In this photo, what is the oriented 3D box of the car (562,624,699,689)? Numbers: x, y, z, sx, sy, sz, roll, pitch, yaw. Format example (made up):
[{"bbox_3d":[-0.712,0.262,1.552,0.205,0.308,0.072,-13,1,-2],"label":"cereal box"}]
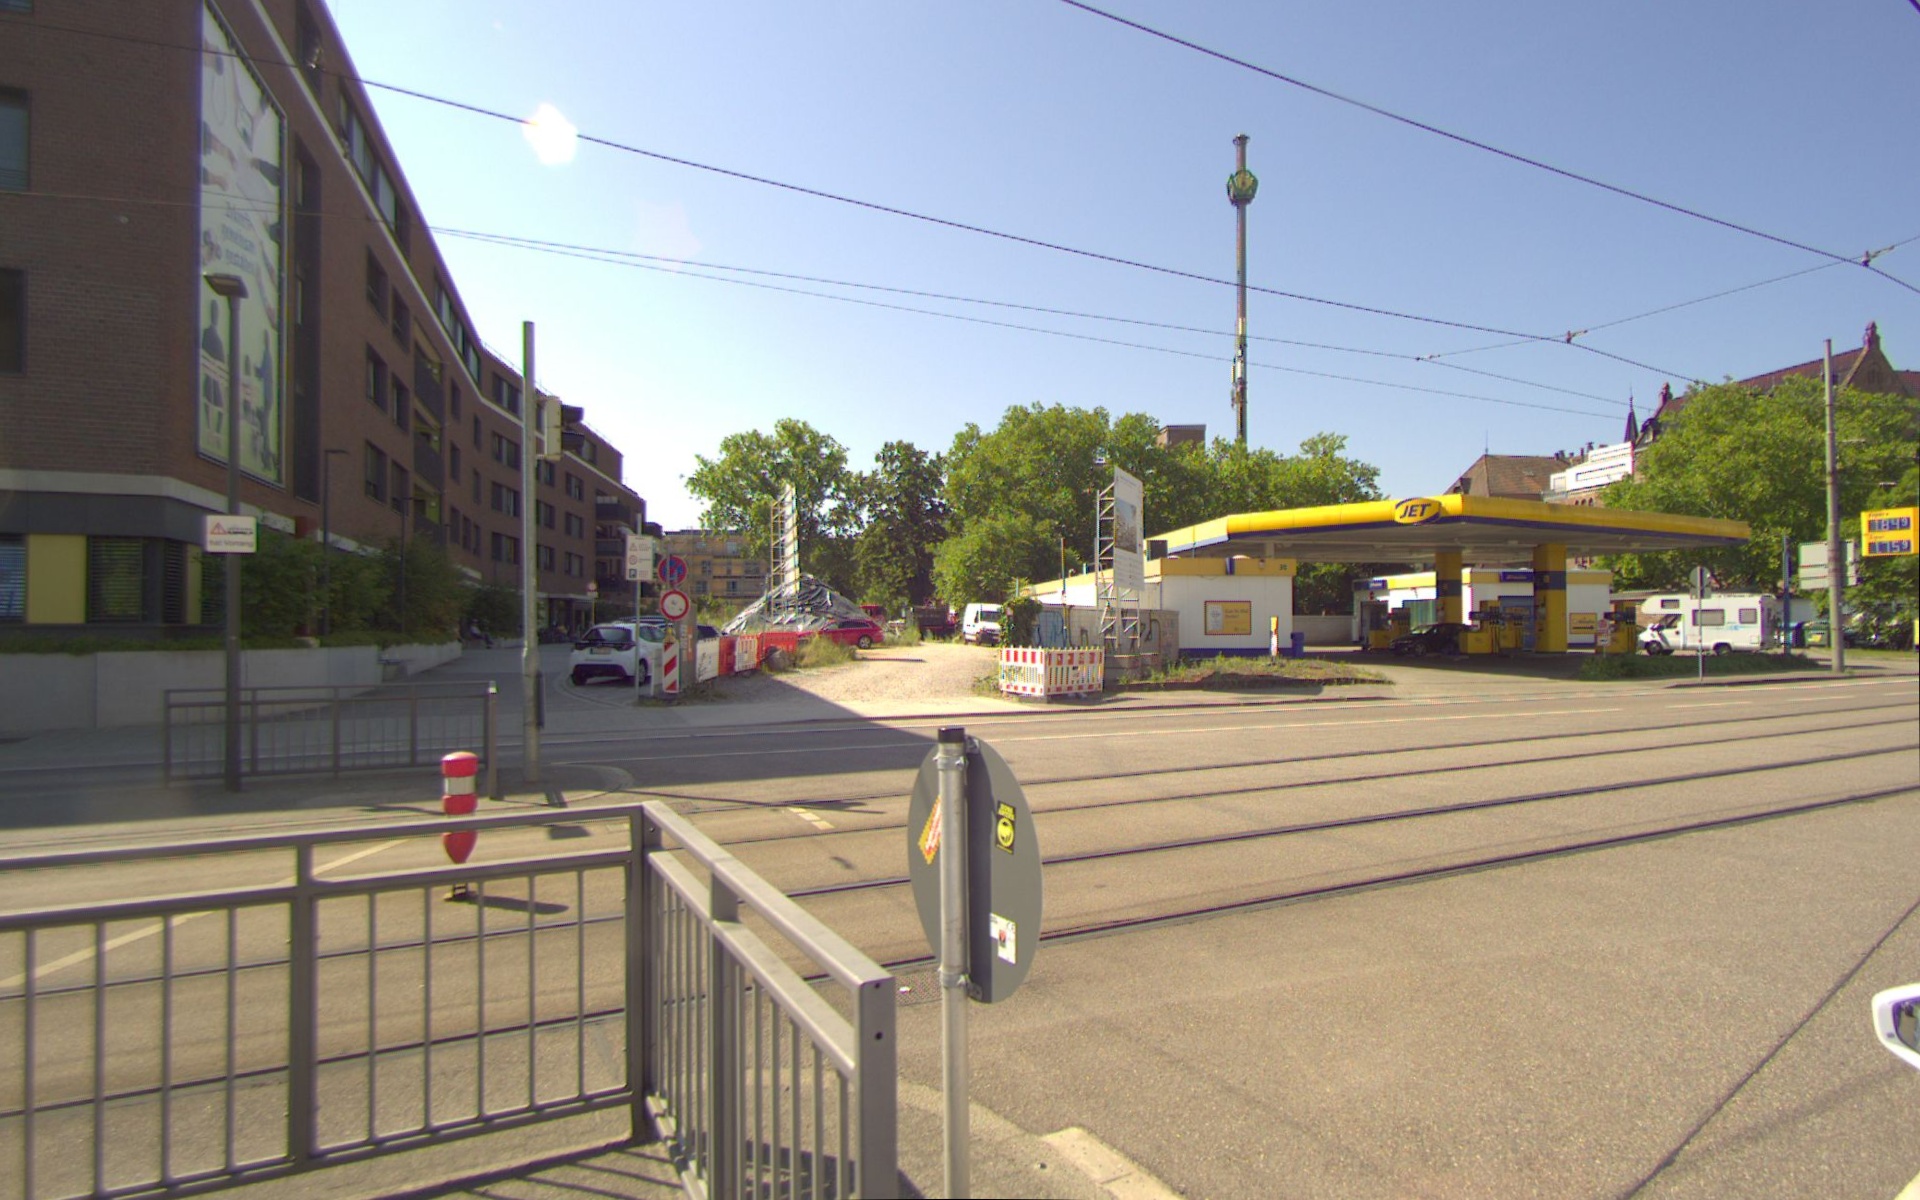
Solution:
[{"bbox_3d":[-8.342,1.387,25.838,1.765,1.442,4.002,1,0,8],"label":"car"}]

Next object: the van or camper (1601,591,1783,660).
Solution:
[{"bbox_3d":[35.484,1.152,48.909,2.593,3.007,6.640,1,1,-38],"label":"van or camper"}]

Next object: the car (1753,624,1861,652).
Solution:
[{"bbox_3d":[50.171,2.262,59.569,4.486,1.604,1.951,0,-1,13],"label":"car"}]

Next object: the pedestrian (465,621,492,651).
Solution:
[{"bbox_3d":[-22.010,1.644,45.961,1.000,1.318,1.117,1,-1,-20],"label":"pedestrian"}]

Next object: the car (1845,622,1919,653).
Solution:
[{"bbox_3d":[50.819,2.021,53.982,4.486,1.646,1.951,0,-1,12],"label":"car"}]

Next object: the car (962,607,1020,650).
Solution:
[{"bbox_3d":[1.713,1.666,58.212,2.286,2.358,5.652,1,-2,-9],"label":"car"}]

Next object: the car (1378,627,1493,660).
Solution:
[{"bbox_3d":[20.737,1.875,43.858,4.309,1.320,1.700,1,0,-8],"label":"car"}]

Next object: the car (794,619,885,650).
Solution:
[{"bbox_3d":[-5.872,1.664,48.780,4.172,1.449,1.827,1,0,-14],"label":"car"}]

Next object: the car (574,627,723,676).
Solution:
[{"bbox_3d":[-9.063,1.496,29.551,3.985,1.384,1.865,1,-2,-11],"label":"car"}]

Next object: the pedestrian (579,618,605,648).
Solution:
[{"bbox_3d":[-17.301,1.548,47.210,1.055,1.330,1.008,1,0,-16],"label":"pedestrian"}]

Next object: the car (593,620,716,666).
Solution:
[{"bbox_3d":[-10.625,1.505,35.216,3.989,1.552,1.813,1,-2,-15],"label":"car"}]

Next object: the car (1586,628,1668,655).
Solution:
[{"bbox_3d":[39.838,2.451,60.102,1.901,1.547,4.168,1,-2,-6],"label":"car"}]

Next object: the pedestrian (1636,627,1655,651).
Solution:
[{"bbox_3d":[41.512,2.359,60.838,0.630,1.488,0.675,1,-1,-24],"label":"pedestrian"}]

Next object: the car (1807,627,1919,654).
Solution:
[{"bbox_3d":[50.859,2.258,56.544,4.486,1.487,1.951,0,-2,12],"label":"car"}]
